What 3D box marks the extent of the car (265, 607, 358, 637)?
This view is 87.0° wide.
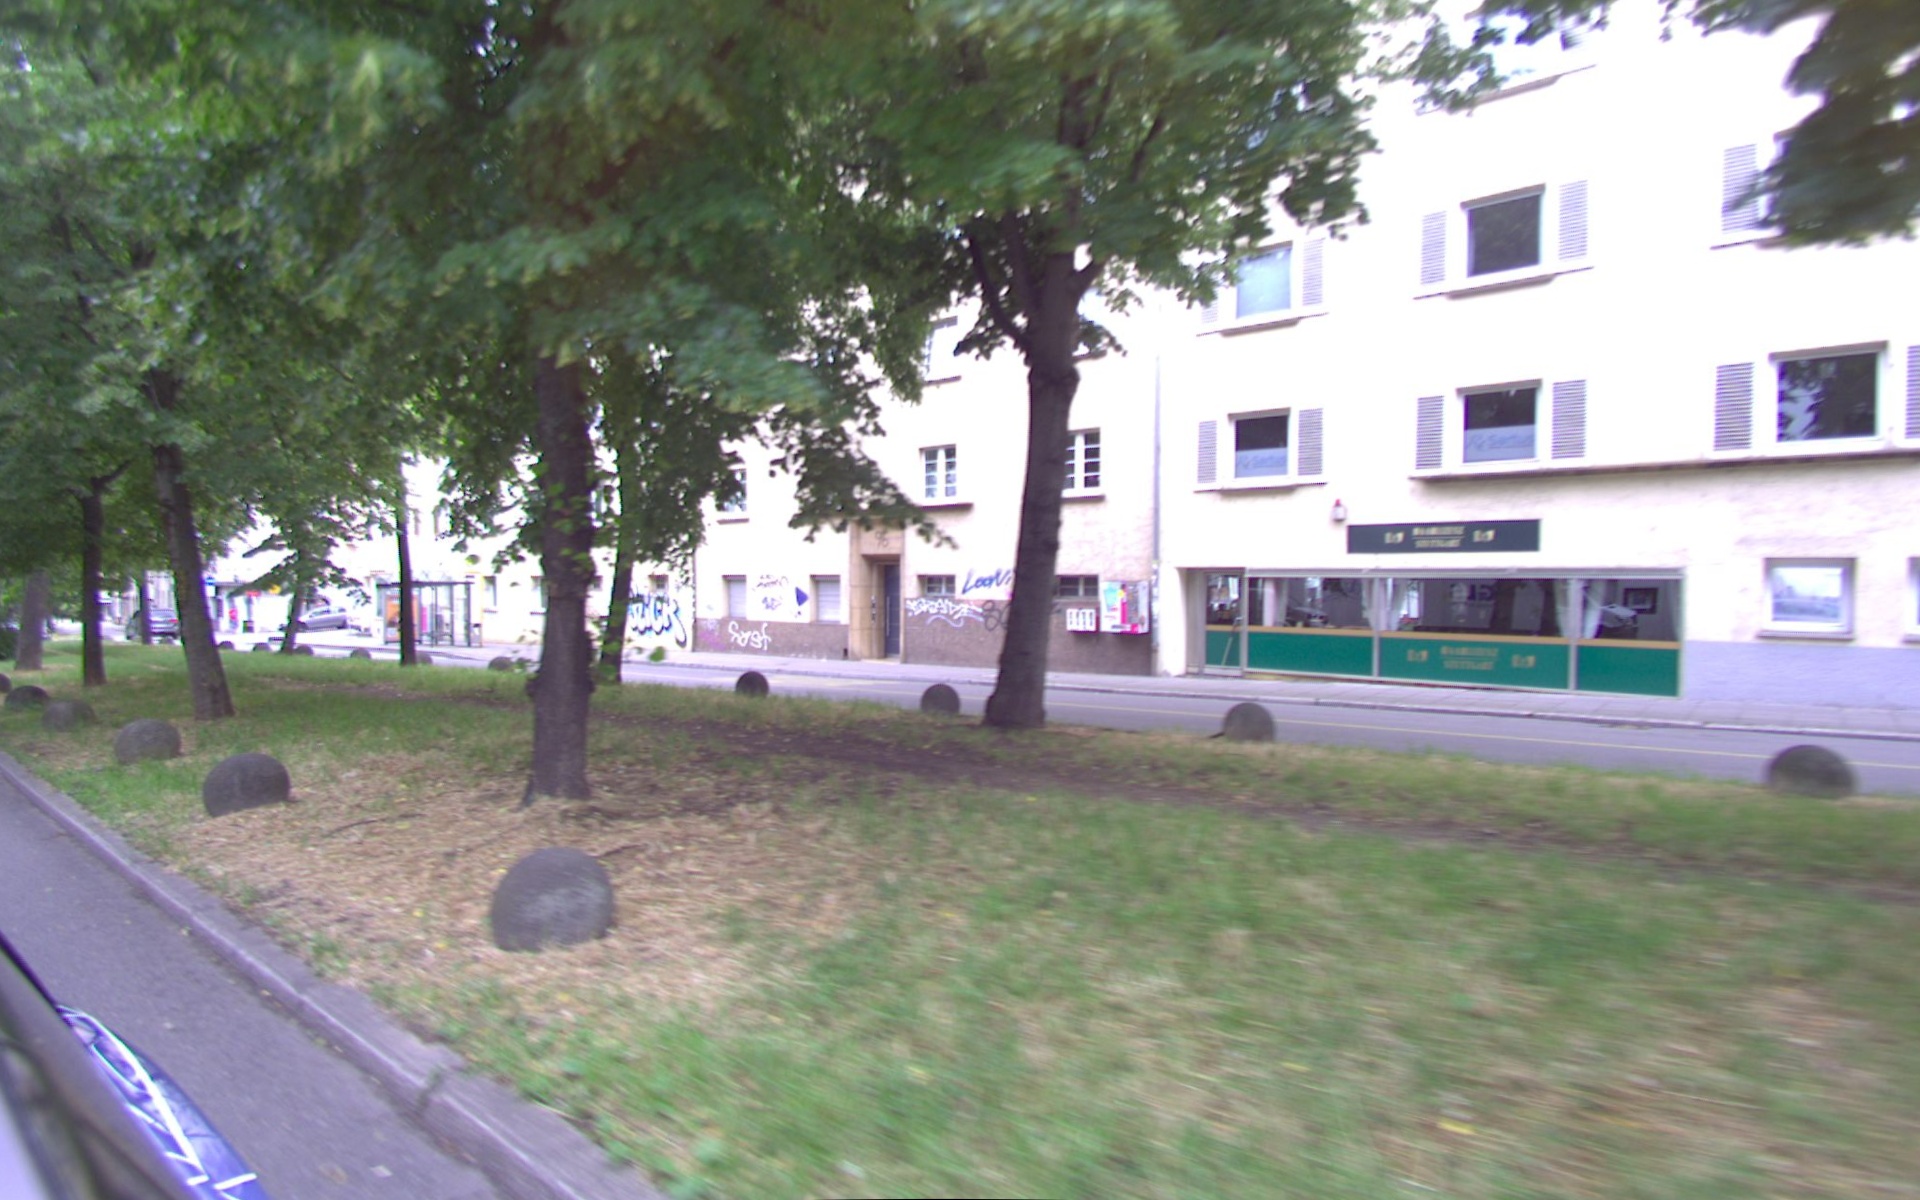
[{"bbox_3d":[-38.583,1.294,60.284,2.048,1.430,4.242,-3,1,43],"label":"car"}]

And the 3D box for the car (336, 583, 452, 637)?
[{"bbox_3d":[-31.006,0.521,55.569,2.168,2.757,5.137,-2,1,30],"label":"car"}]

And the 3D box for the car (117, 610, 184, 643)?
[{"bbox_3d":[-42.297,1.394,52.850,4.362,1.641,1.929,-2,-1,41],"label":"car"}]
